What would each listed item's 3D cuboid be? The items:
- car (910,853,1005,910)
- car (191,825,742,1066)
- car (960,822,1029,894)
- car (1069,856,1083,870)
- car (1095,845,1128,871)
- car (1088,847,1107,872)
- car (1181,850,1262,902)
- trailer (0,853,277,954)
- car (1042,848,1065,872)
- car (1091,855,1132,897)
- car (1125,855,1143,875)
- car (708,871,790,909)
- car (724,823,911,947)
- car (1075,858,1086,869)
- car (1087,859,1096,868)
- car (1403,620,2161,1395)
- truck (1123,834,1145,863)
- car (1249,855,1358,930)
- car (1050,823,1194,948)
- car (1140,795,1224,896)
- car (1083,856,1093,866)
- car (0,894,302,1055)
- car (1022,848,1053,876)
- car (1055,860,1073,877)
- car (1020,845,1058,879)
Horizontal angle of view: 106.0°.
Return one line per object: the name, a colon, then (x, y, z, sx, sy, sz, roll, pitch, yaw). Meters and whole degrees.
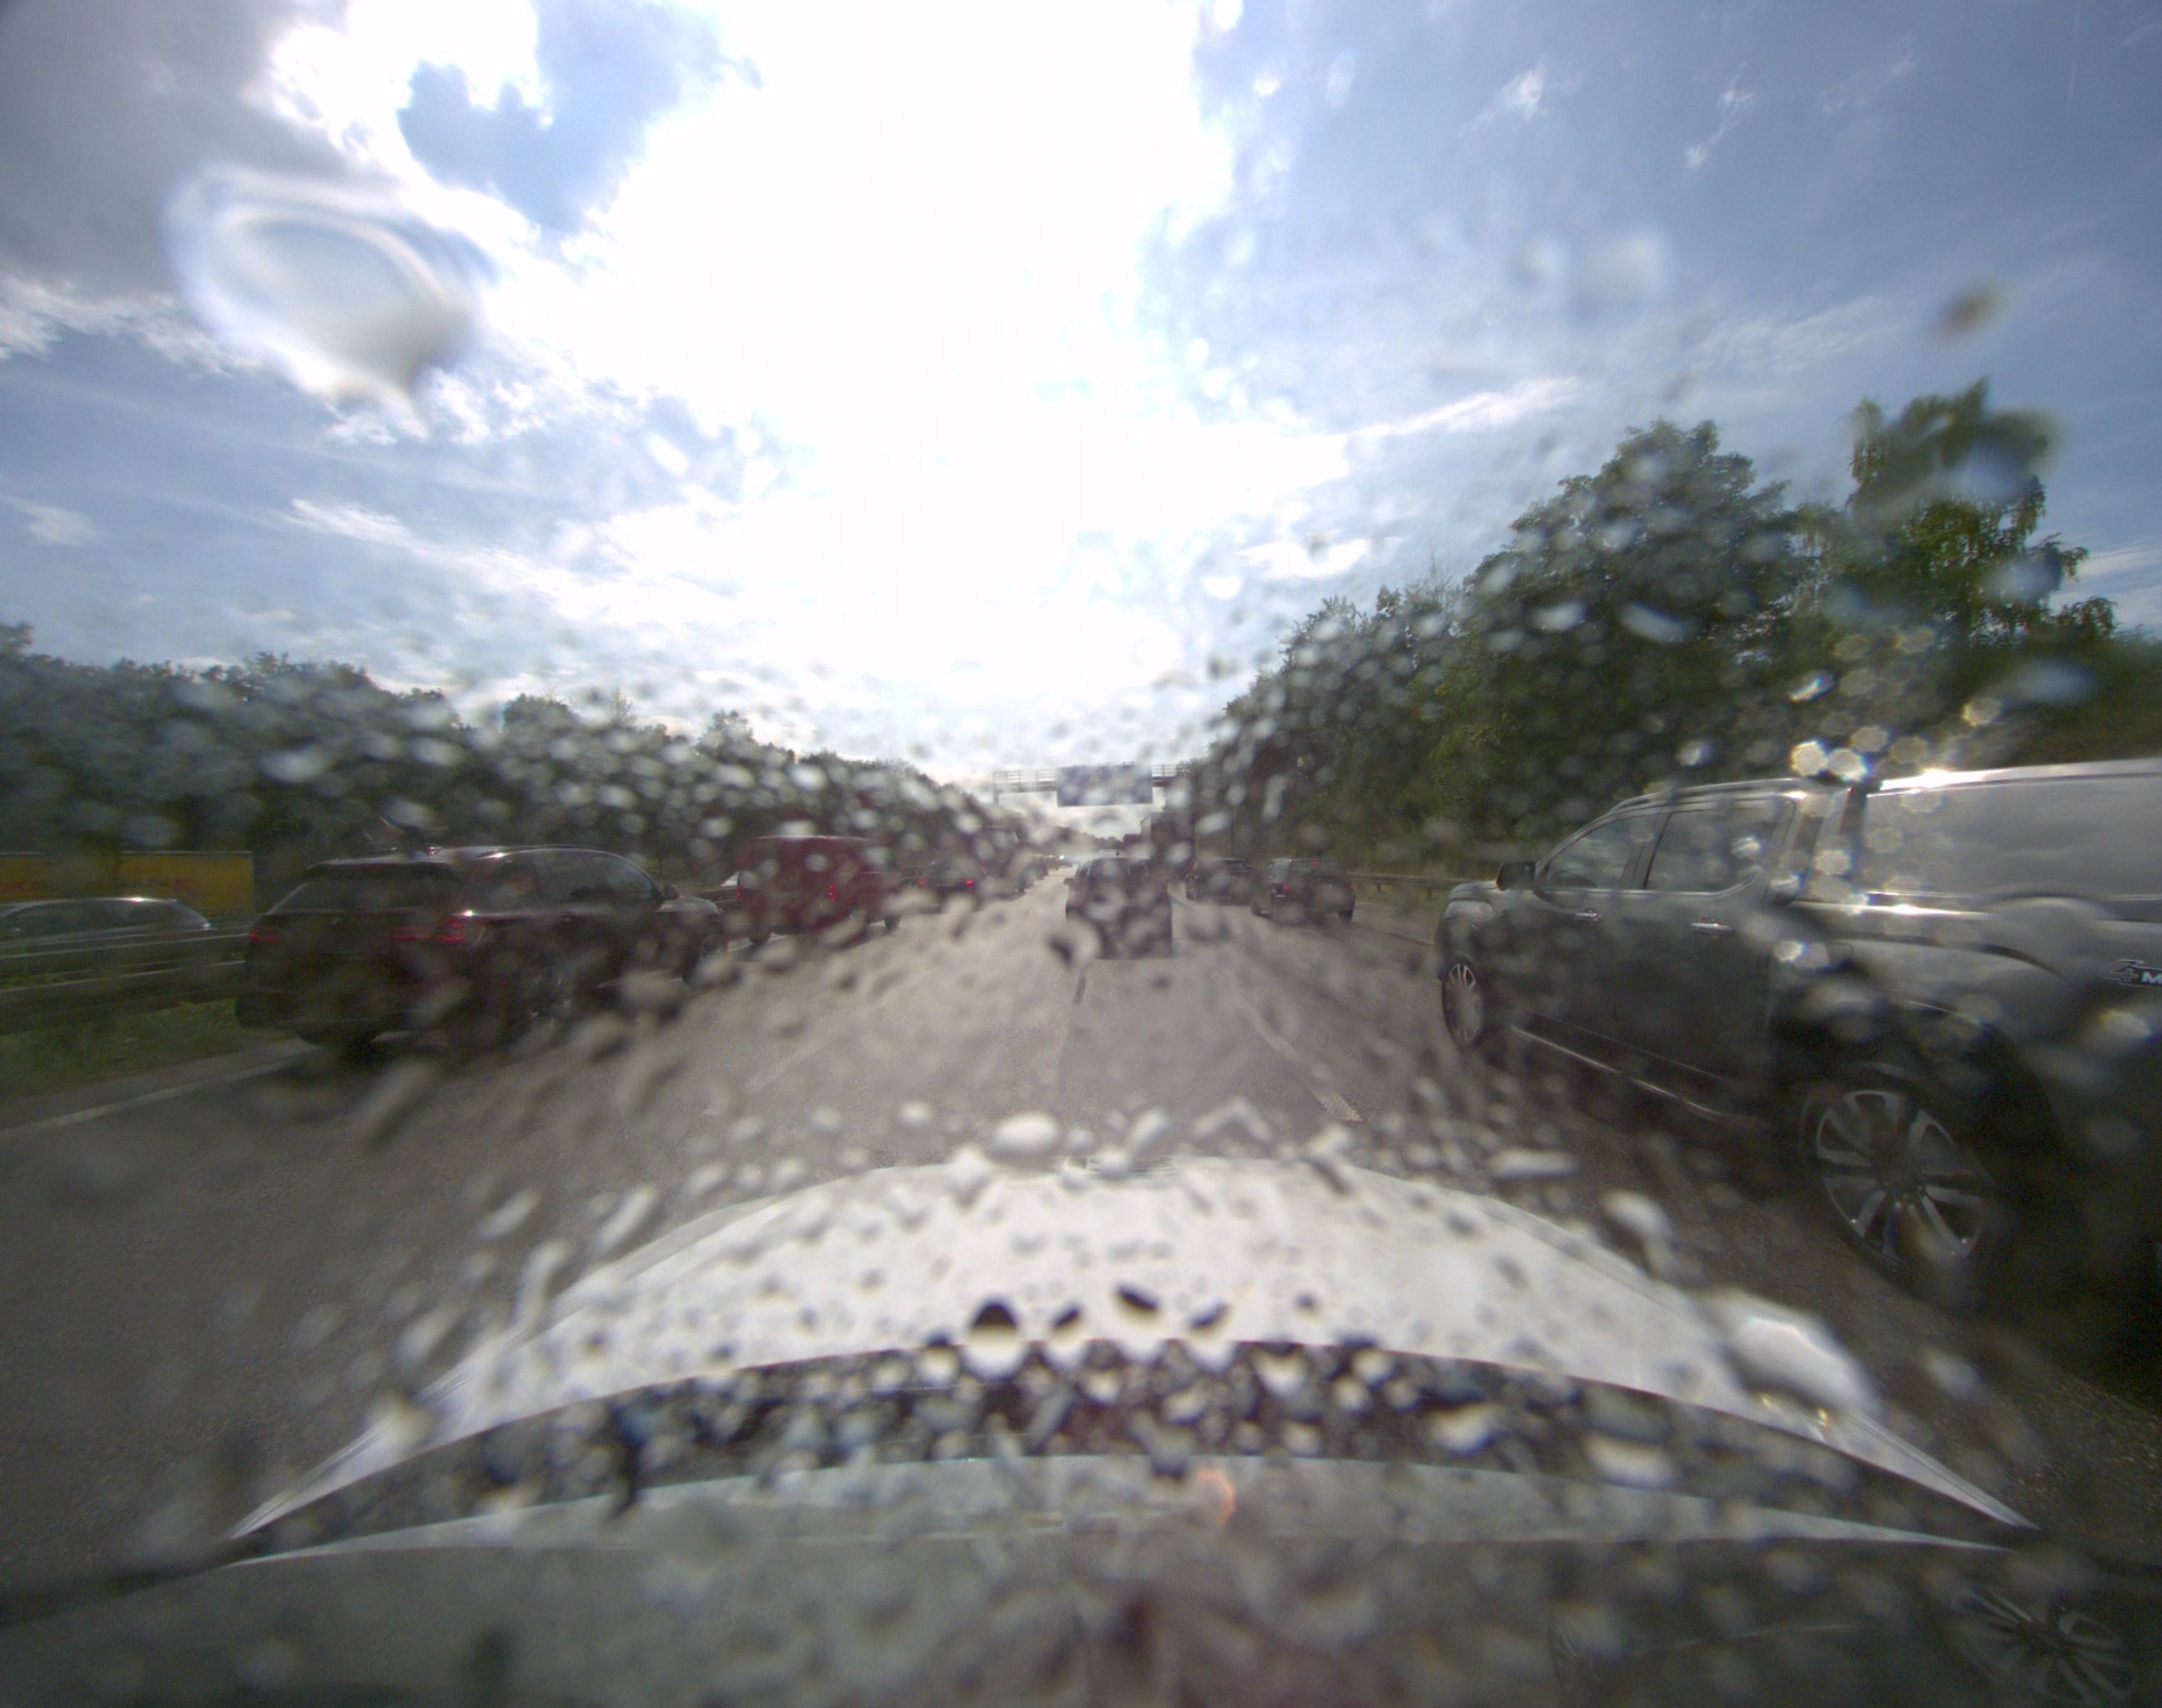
car: (-3.630, 0.782, 24.807, 1.986, 1.565, 4.758, 0, -1, 2)
car: (-5.322, 0.665, 8.088, 1.902, 1.636, 4.616, -2, -1, 0)
car: (-3.333, 0.167, 32.361, 1.986, 2.615, 5.261, 0, -1, 2)
car: (-0.723, 1.312, 123.765, 1.986, 2.115, 4.891, 0, -1, 2)
car: (1.866, 0.269, 51.091, 1.859, 1.516, 3.974, 0, -1, -1)
car: (1.902, 0.625, 91.330, 1.986, 2.746, 5.261, 0, -1, 2)
car: (4.373, 0.679, 25.973, 1.859, 1.516, 3.974, 0, -1, -1)
trailer: (-45.145, 2.069, 37.118, 3.760, 4.117, 11.771, -1, -1, 15)
car: (-2.834, 0.608, 85.246, 1.986, 2.385, 5.261, 0, -1, 2)
car: (1.345, 0.953, 37.184, 1.687, 1.805, 3.974, 0, -1, 0)
car: (6.057, 1.248, 93.363, 1.986, 2.115, 4.891, 0, -1, 2)
car: (-17.009, 1.808, 42.039, 2.044, 1.775, 5.209, 0, -1, 1)
car: (-4.898, 0.532, 15.962, 1.971, 2.054, 4.758, 0, -1, 2)
car: (-0.062, 1.724, 150.185, 1.986, 2.115, 4.891, 0, -1, 2)
car: (2.557, 2.206, 191.003, 1.986, 2.115, 4.891, 0, -1, 2)
car: (3.675, 0.393, 4.099, 1.935, 1.919, 5.652, 0, -1, 1)
truck: (6.929, -0.650, 107.135, 2.765, 3.632, 5.919, 0, -1, 2)
car: (4.935, 0.798, 18.591, 1.584, 1.516, 3.979, 0, -1, 3)
car: (0.654, 0.517, 15.293, 2.267, 1.954, 4.820, 0, -1, 0)
car: (6.448, -0.422, 55.541, 4.386, 5.830, 16.828, 0, -1, 3)
car: (1.468, 1.470, 172.316, 1.986, 2.115, 4.891, 0, -1, 2)
car: (-14.009, 1.544, 10.923, 2.044, 1.775, 5.209, 0, -1, 1)
car: (-3.340, 0.606, 63.030, 1.986, 2.115, 4.891, 0, -1, 2)
car: (-2.113, 1.783, 102.064, 1.986, 2.115, 4.891, 0, -1, 2)
car: (-2.659, 0.507, 52.723, 1.986, 2.115, 4.891, 0, -1, 2)
